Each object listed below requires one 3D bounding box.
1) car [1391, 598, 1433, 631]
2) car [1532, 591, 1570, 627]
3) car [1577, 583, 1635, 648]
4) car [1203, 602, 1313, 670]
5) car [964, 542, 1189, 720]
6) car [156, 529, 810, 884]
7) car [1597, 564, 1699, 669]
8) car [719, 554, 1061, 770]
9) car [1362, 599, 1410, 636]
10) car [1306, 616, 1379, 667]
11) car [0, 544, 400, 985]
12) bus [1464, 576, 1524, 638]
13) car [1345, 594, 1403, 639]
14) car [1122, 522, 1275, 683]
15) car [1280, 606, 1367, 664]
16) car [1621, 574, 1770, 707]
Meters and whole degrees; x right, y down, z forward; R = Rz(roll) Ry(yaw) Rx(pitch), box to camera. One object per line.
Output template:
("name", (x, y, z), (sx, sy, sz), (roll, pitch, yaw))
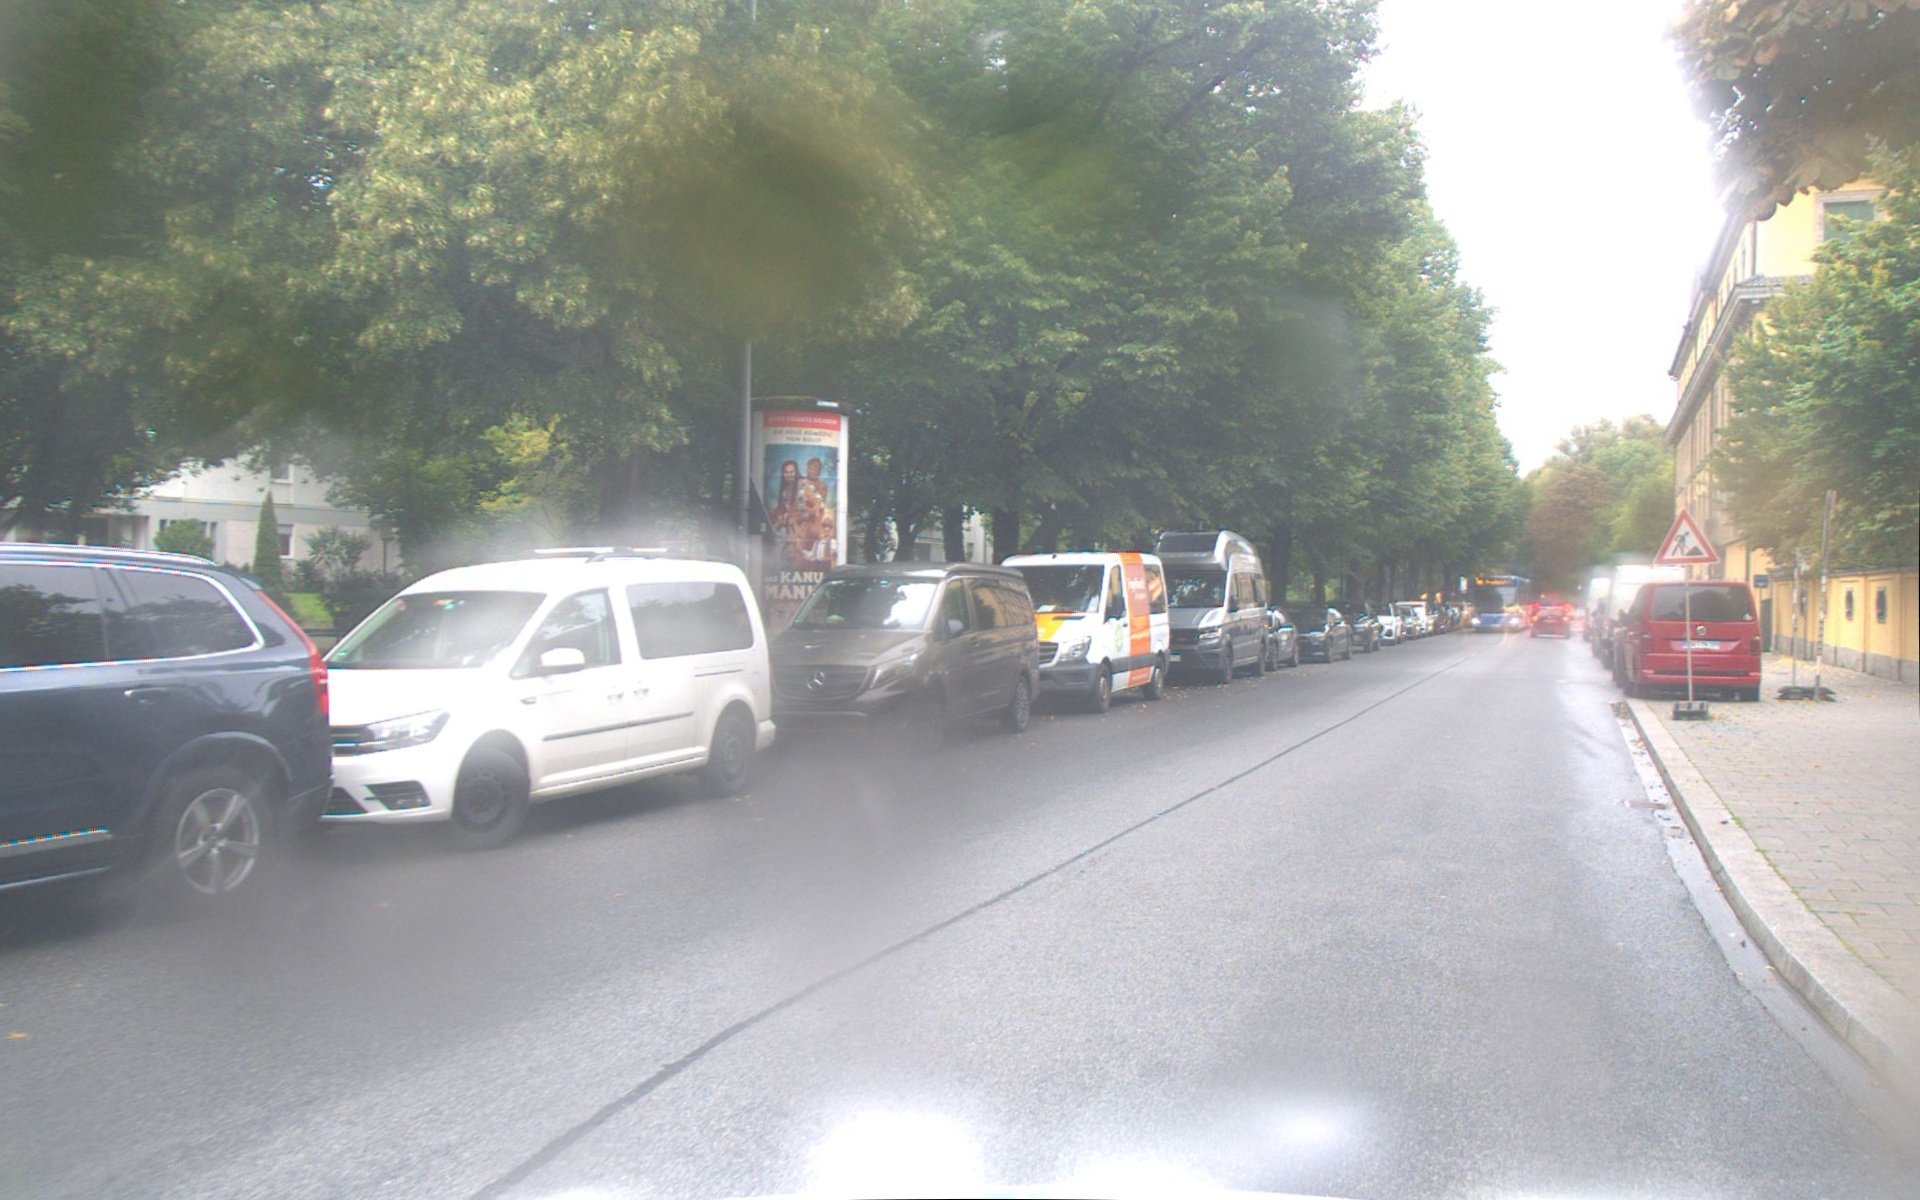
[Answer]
("car", (21.307, 0.702, 77.907), (1.637, 1.495, 4.105), (0, 0, 19))
("car", (27.764, 0.427, 77.645), (1.545, 1.611, 4.044), (0, 0, 21))
("car", (28.762, 0.687, 73.798), (2.011, 2.720, 7.616), (0, 0, 19))
("car", (7.137, 0.799, 39.259), (1.753, 1.463, 4.579), (0, 0, 21))
("car", (1.914, 0.455, 25.008), (2.070, 2.390, 5.409), (0, -1, 19))
("car", (-3.031, 0.595, 11.783), (1.842, 1.971, 4.831), (-1, 0, 23))
("car", (17.760, 0.449, 42.919), (2.051, 2.531, 5.741), (0, -1, 19))
("car", (-0.535, 0.576, 18.150), (1.904, 1.998, 5.461), (-1, 0, 19))
("car", (17.764, 0.733, 68.819), (1.637, 1.495, 4.105), (0, 0, 19))
("car", (11.621, 1.245, 50.140), (1.752, 1.479, 3.950), (0, -1, 19))
("car", (-4.847, 0.659, 6.890), (1.842, 1.799, 5.057), (0, -1, 23))
("bus", (31.287, 0.538, 96.395), (2.800, 3.296, 18.429), (0, -1, 19))
("car", (15.798, 0.630, 62.987), (1.747, 1.625, 4.586), (0, 0, 19))
("car", (4.907, 0.098, 33.160), (1.904, 2.904, 6.238), (0, -1, 19))
("car", (9.736, 0.926, 44.072), (1.752, 1.463, 4.552), (0, -1, 19))
("car", (12.298, 0.657, 27.941), (1.820, 2.002, 5.446), (0, -1, 19))
